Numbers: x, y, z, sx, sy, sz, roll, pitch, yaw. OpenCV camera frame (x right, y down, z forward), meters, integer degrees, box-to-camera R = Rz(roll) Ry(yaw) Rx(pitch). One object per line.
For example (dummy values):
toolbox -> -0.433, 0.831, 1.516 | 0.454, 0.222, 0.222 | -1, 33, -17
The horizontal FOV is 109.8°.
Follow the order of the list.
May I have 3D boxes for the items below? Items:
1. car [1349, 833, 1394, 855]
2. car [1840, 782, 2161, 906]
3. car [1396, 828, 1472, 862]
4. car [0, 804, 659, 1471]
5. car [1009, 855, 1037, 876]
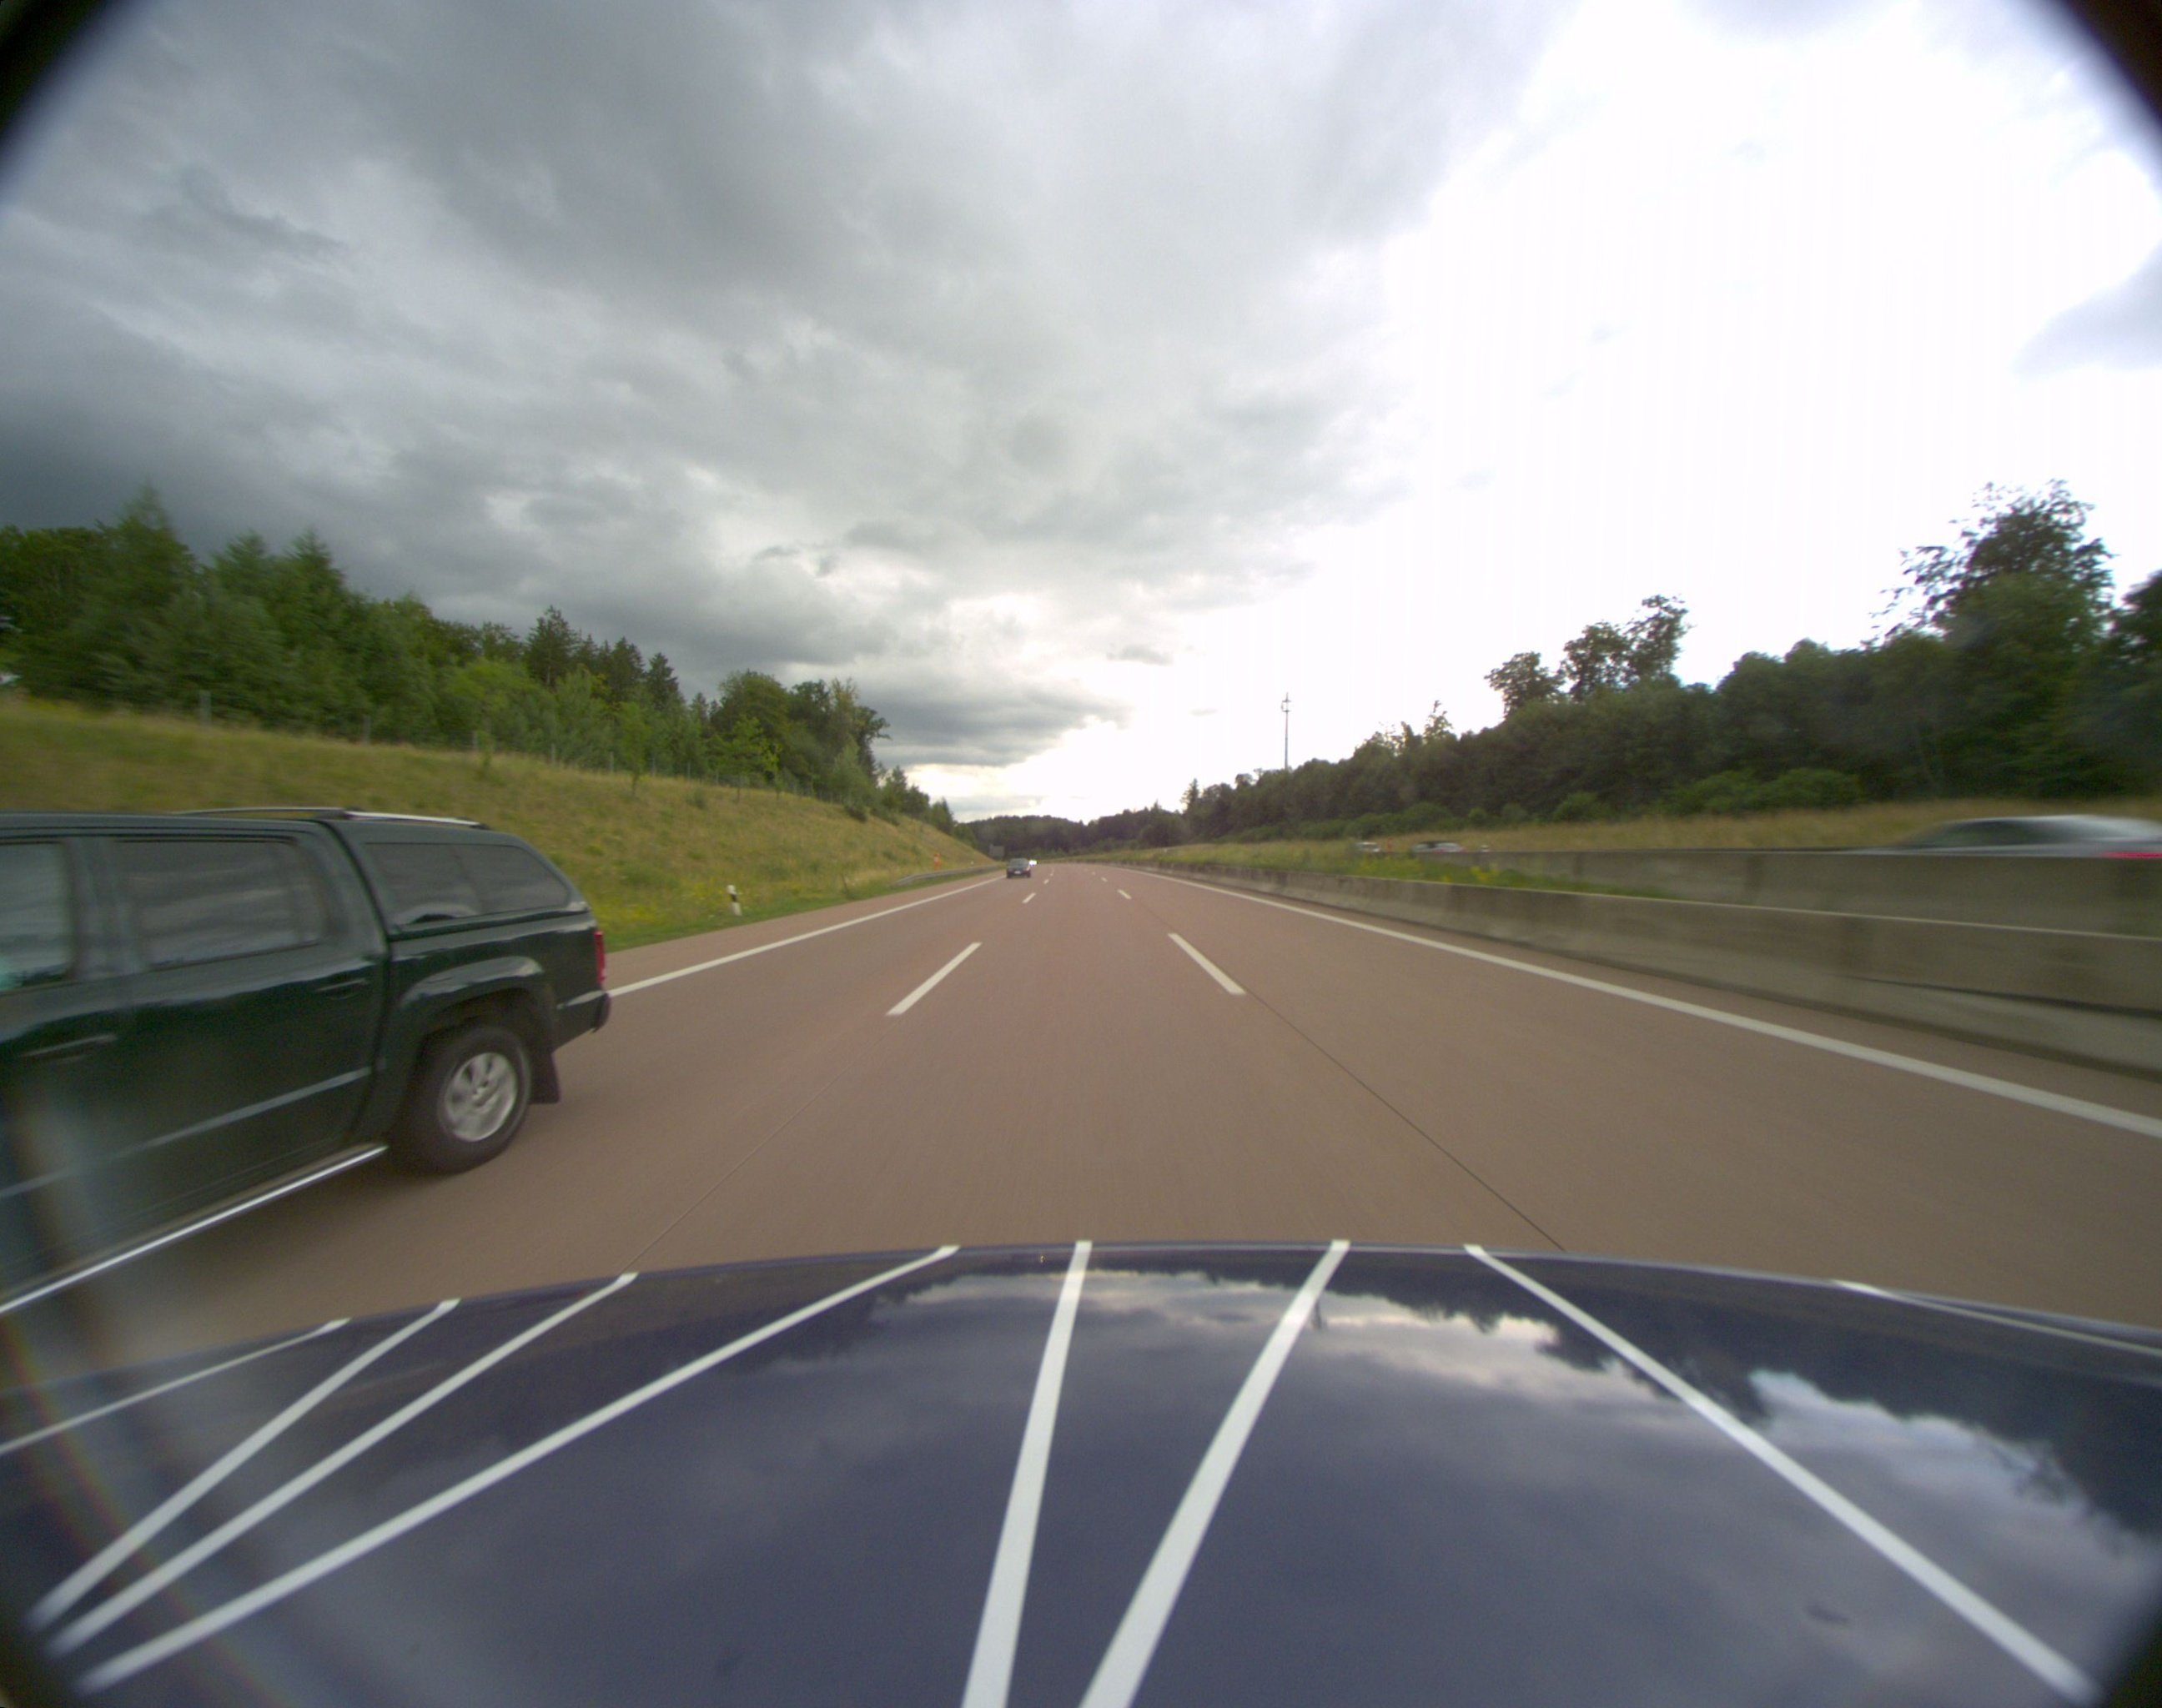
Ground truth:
car -> 21.690, -0.769, 56.979 | 1.736, 1.516, 4.411 | -2, 2, 1
car -> 13.951, -0.195, 10.941 | 1.737, 1.516, 4.243 | -2, 2, -1
car -> 17.263, -0.470, 37.378 | 1.736, 1.516, 4.411 | -2, 2, 1
car -> -4.093, 0.812, 2.671 | 2.049, 1.886, 5.576 | -1, 1, 0
car -> -4.298, 0.814, 56.975 | 1.676, 1.395, 4.232 | -1, 1, 0
